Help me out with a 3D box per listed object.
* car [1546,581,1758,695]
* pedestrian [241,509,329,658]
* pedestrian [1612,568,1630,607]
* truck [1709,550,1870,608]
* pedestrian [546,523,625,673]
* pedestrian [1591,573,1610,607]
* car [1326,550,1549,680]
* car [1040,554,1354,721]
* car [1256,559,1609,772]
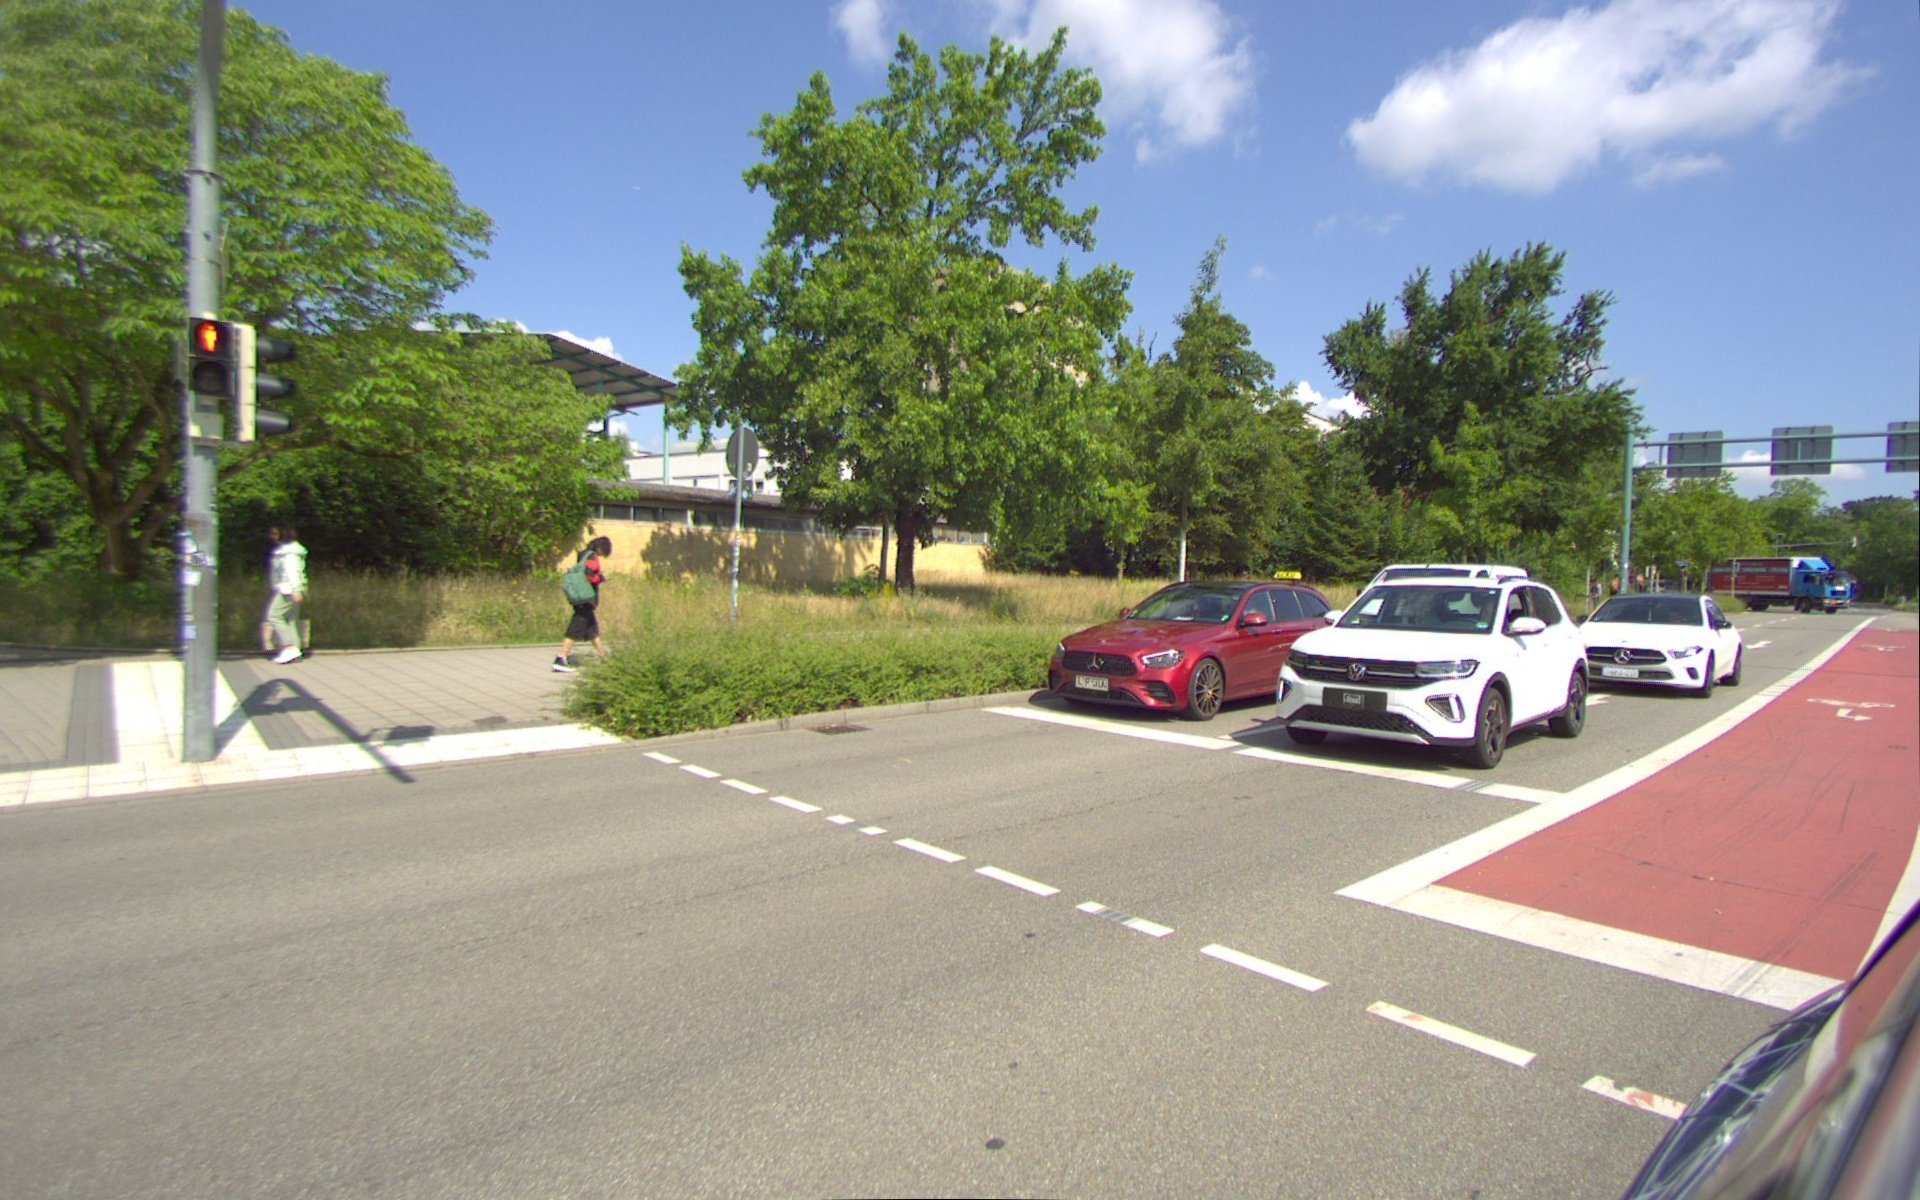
[{"bbox_3d":[10.650,0.474,15.436,1.905,1.441,4.314,3,2,45],"label":"car"},{"bbox_3d":[-7.926,-0.204,11.879,0.709,1.658,0.869,0,2,-44],"label":"pedestrian"},{"bbox_3d":[32.044,-0.605,49.072,0.567,1.824,0.629,3,2,44],"label":"pedestrian"},{"bbox_3d":[59.301,-1.587,72.779,2.610,3.846,9.211,1,2,-12],"label":"truck"},{"bbox_3d":[-4.573,-0.036,12.343,0.667,1.757,0.743,0,2,-42],"label":"pedestrian"},{"bbox_3d":[31.357,-0.493,49.520,0.623,1.600,0.697,3,2,44],"label":"pedestrian"},{"bbox_3d":[8.246,0.181,17.256,1.943,1.893,4.748,3,2,44],"label":"car"},{"bbox_3d":[3.020,0.336,12.232,1.681,1.661,4.392,2,2,44],"label":"car"},{"bbox_3d":[4.549,0.452,9.454,1.791,1.559,3.947,1,1,44],"label":"car"}]
